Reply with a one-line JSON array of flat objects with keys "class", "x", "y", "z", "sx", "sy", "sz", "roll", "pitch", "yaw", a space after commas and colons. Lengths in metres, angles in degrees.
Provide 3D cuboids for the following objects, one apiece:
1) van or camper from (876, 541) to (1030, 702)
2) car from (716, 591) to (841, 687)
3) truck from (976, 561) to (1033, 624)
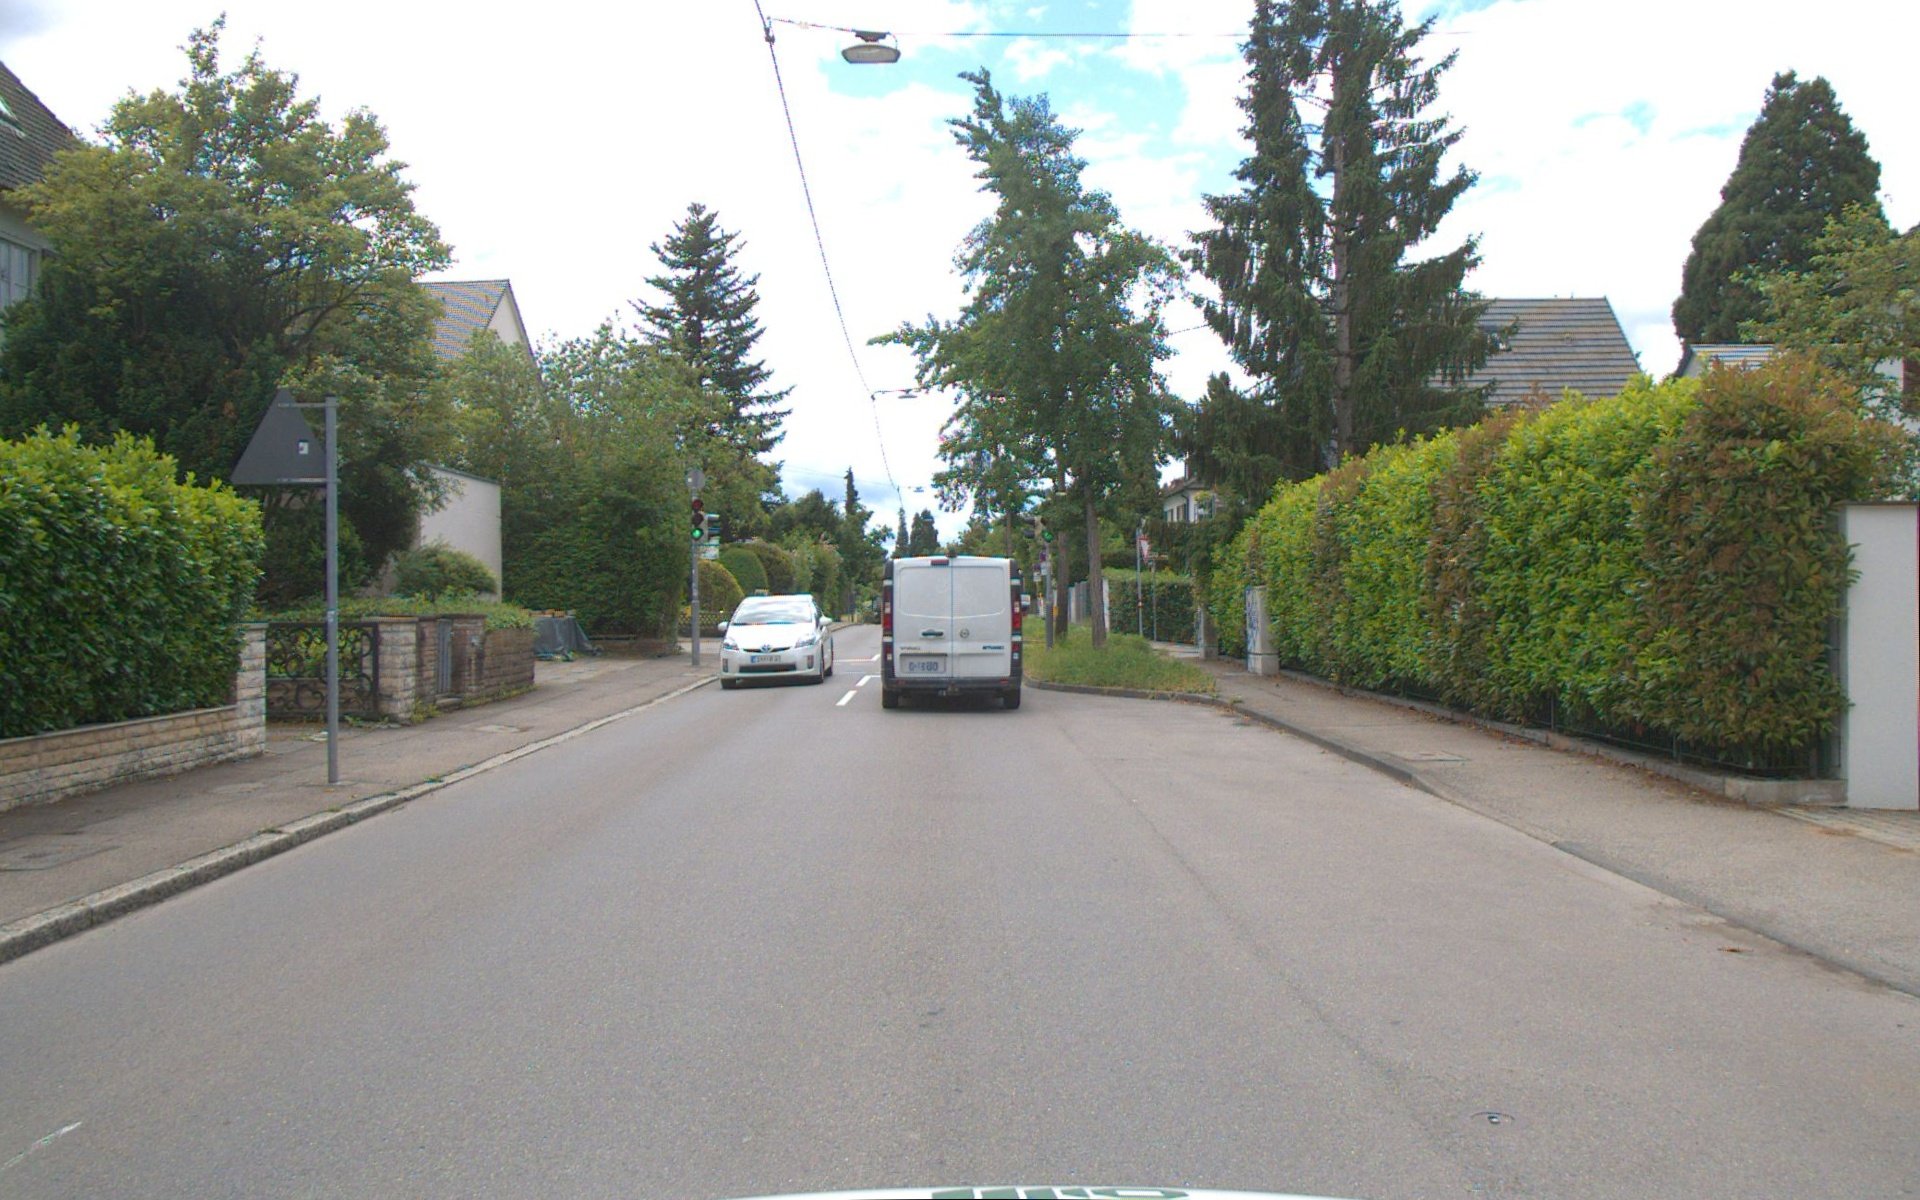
[{"class": "van or camper", "x": -0.137, "y": 0.304, "z": 22.918, "sx": 1.900, "sy": 1.988, "sz": 4.763, "roll": 0, "pitch": -1, "yaw": -1}, {"class": "car", "x": -3.094, "y": 0.622, "z": 28.982, "sx": 1.817, "sy": 1.476, "sz": 4.280, "roll": -2, "pitch": 1, "yaw": -2}, {"class": "truck", "x": 1.857, "y": -0.323, "z": 71.000, "sx": 2.143, "sy": 2.515, "sz": 7.429, "roll": 1, "pitch": 0, "yaw": -1}]
